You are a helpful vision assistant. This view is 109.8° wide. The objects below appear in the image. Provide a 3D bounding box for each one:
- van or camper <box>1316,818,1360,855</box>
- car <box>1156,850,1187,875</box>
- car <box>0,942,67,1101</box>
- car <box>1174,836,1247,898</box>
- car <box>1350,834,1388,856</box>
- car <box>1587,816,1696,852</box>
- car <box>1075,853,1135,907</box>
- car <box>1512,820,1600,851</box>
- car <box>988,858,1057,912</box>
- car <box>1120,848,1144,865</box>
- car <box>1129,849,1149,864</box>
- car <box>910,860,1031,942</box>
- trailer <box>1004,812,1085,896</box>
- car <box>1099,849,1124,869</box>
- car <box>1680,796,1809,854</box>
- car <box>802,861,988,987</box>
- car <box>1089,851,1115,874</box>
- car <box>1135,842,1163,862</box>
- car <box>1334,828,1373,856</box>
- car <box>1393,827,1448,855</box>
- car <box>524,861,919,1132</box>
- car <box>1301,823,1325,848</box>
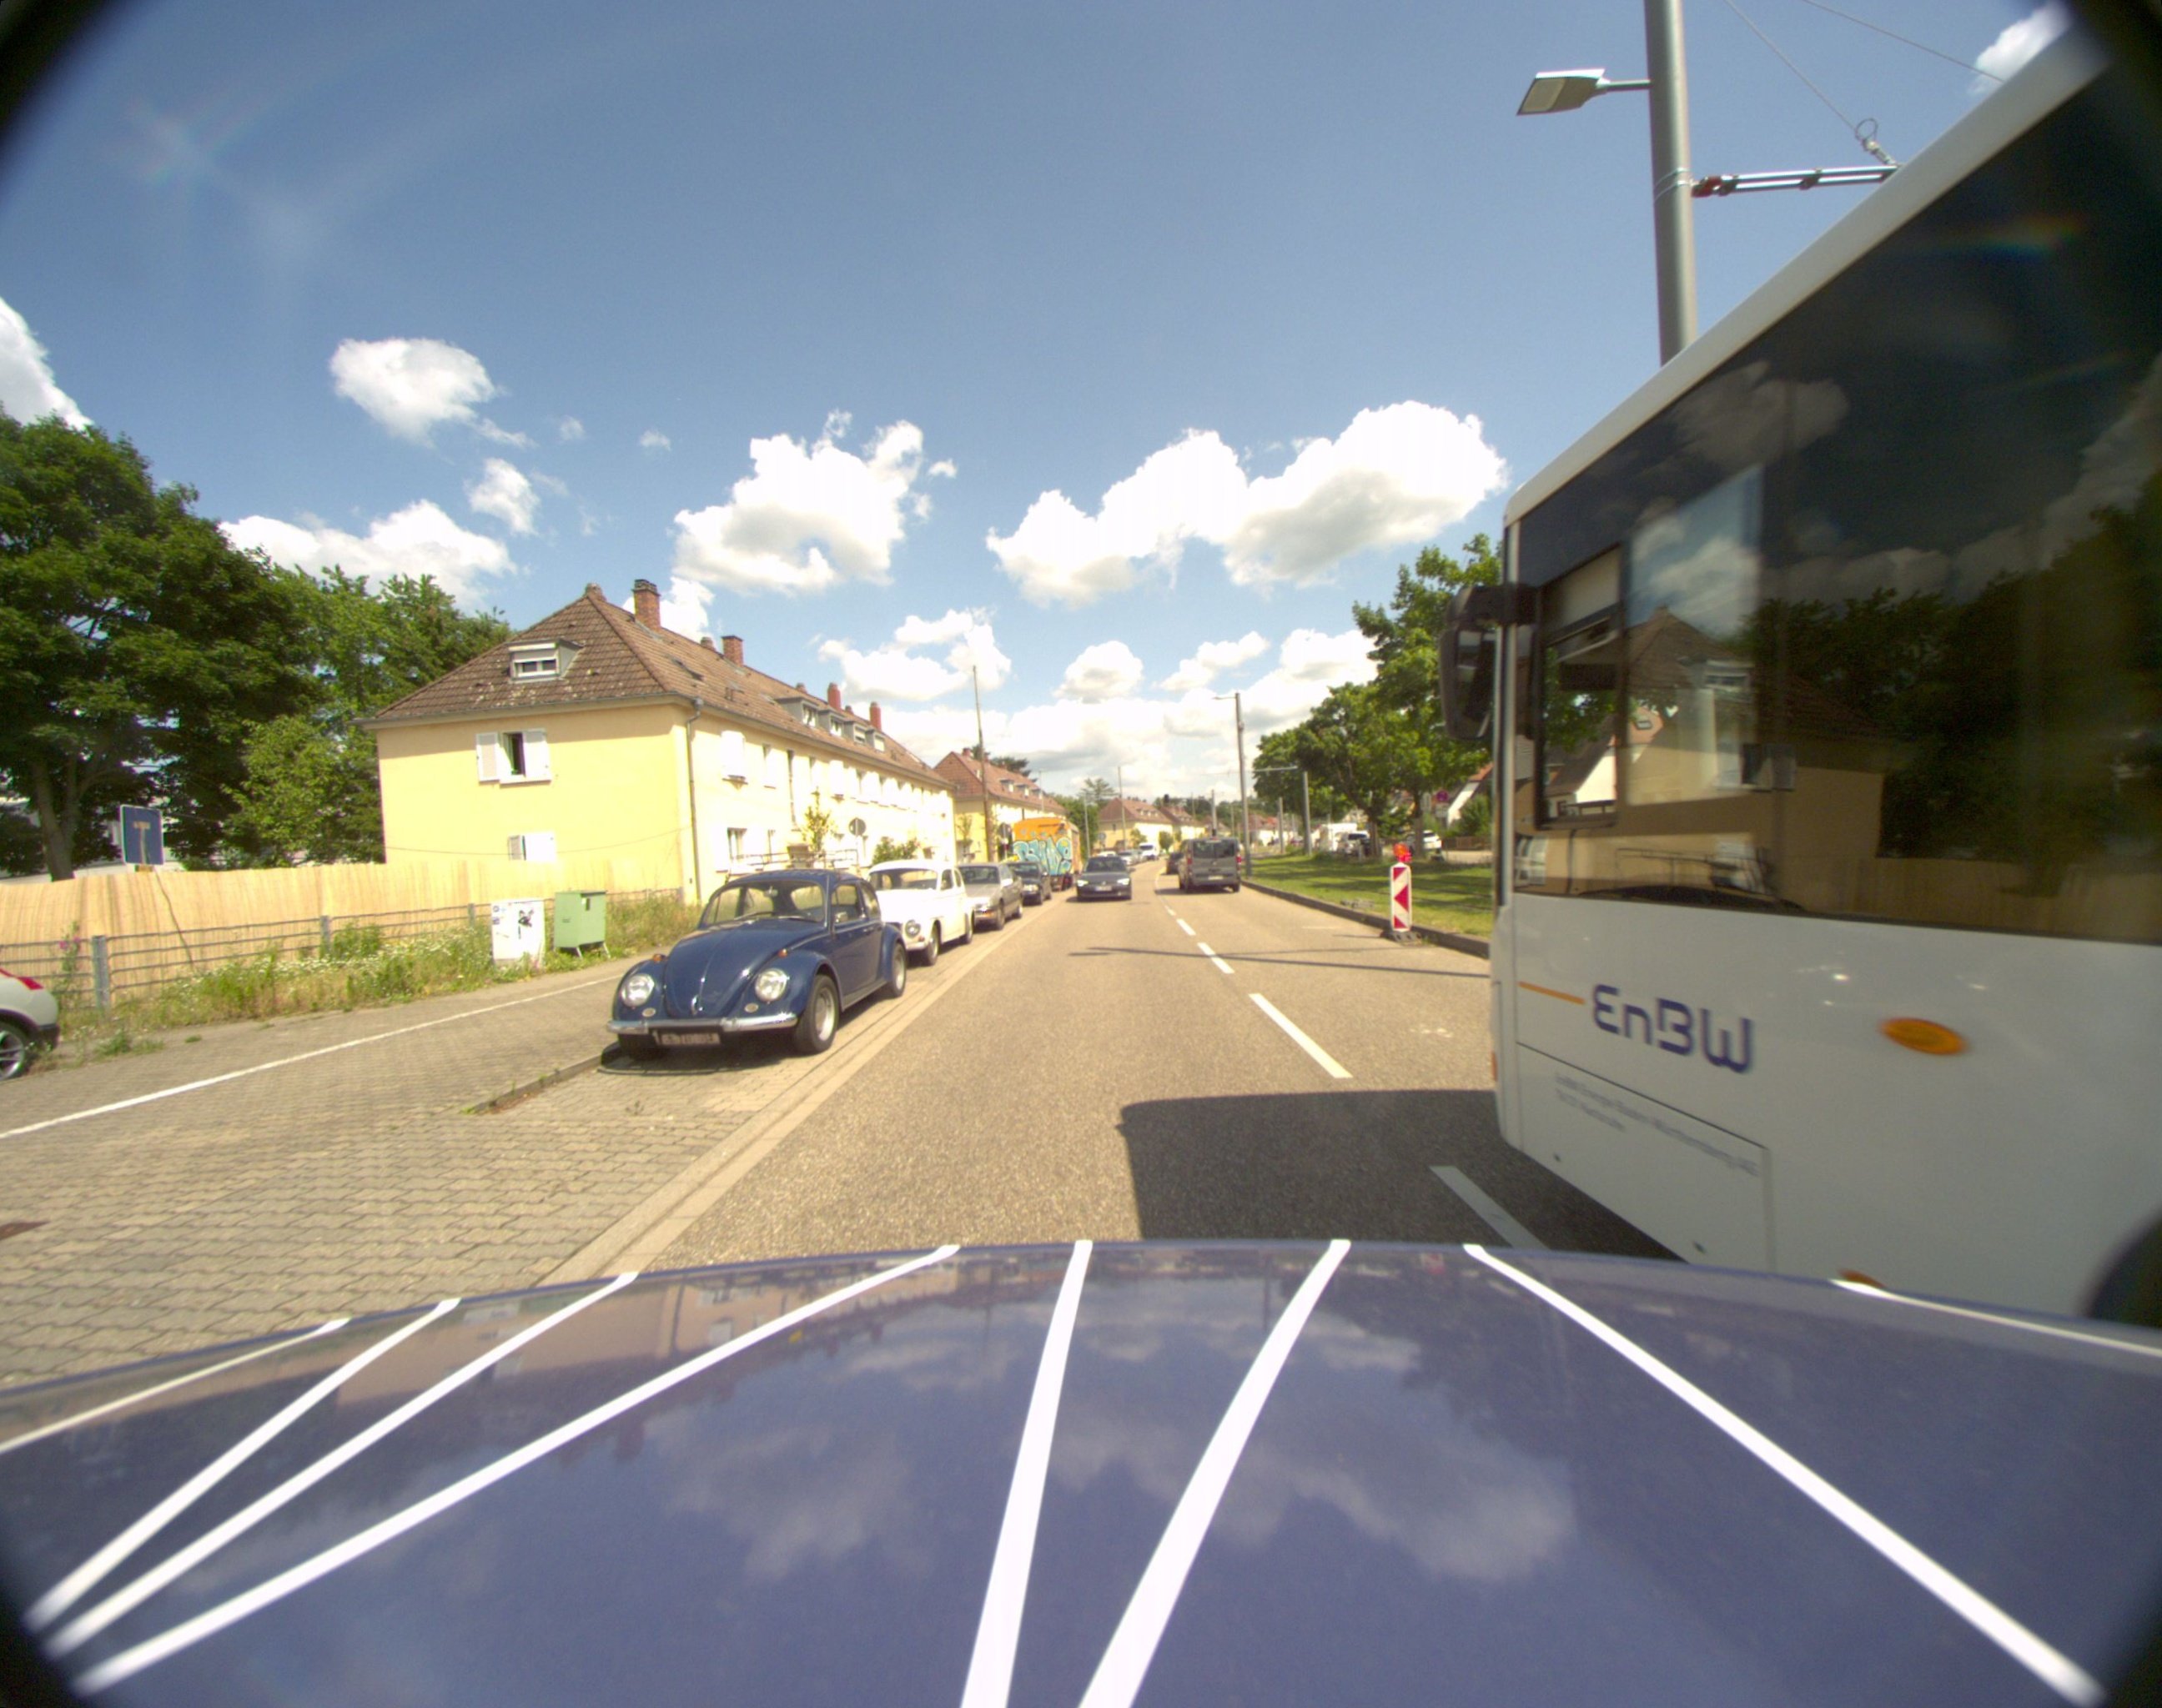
[{"bbox_3d":[22.643,-1.521,67.319,2.380,2.953,7.300,-3,1,9],"label":"van or camper"},{"bbox_3d":[5.618,0.513,47.475,1.669,1.441,3.960,-1,0,3],"label":"car"},{"bbox_3d":[-10.480,1.574,5.164,1.640,1.366,4.087,-3,0,-1],"label":"car"},{"bbox_3d":[4.599,0.411,27.805,1.960,1.955,5.293,-3,0,3],"label":"car"},{"bbox_3d":[20.321,-0.671,53.859,1.855,1.379,4.812,-4,0,14],"label":"car"},{"bbox_3d":[27.296,-0.949,37.083,3.892,1.448,1.736,-4,1,4],"label":"car"},{"bbox_3d":[0.883,0.782,25.199,1.742,1.513,4.702,-2,1,4],"label":"car"},{"bbox_3d":[28.523,-1.097,45.709,3.996,1.521,1.874,-4,0,4],"label":"car"},{"bbox_3d":[-1.827,0.938,24.879,1.581,1.441,4.454,-4,0,3],"label":"car"},{"bbox_3d":[4.891,0.225,72.332,1.753,1.489,4.388,-3,0,10],"label":"car"},{"bbox_3d":[6.493,0.218,84.122,1.710,1.495,4.258,-3,1,10],"label":"car"},{"bbox_3d":[-2.339,0.942,17.339,1.710,1.441,4.836,-4,0,3],"label":"car"},{"bbox_3d":[-1.438,-0.031,32.951,2.696,3.208,5.083,-4,0,4],"label":"trailer"},{"bbox_3d":[2.496,0.397,61.570,1.530,1.472,3.811,-3,1,10],"label":"car"},{"bbox_3d":[26.316,-1.124,30.192,3.897,1.886,1.940,-5,1,-15],"label":"car"},{"bbox_3d":[-2.734,0.952,12.255,1.581,1.504,4.460,-4,0,3],"label":"car"},{"bbox_3d":[1.564,0.584,55.320,1.466,1.493,4.111,-3,1,7],"label":"car"},{"bbox_3d":[8.412,-0.291,93.459,2.280,2.170,6.373,-3,1,14],"label":"car"},{"bbox_3d":[21.632,-0.921,60.476,1.997,2.002,4.907,-4,0,10],"label":"car"},{"bbox_3d":[24.083,-0.907,54.094,1.885,1.758,5.084,-3,0,5],"label":"car"},{"bbox_3d":[-2.809,0.959,7.111,1.552,1.631,4.246,-4,0,0],"label":"car"},{"bbox_3d":[26.489,-2.106,86.892,2.157,2.653,4.919,-3,1,12],"label":"car"}]
